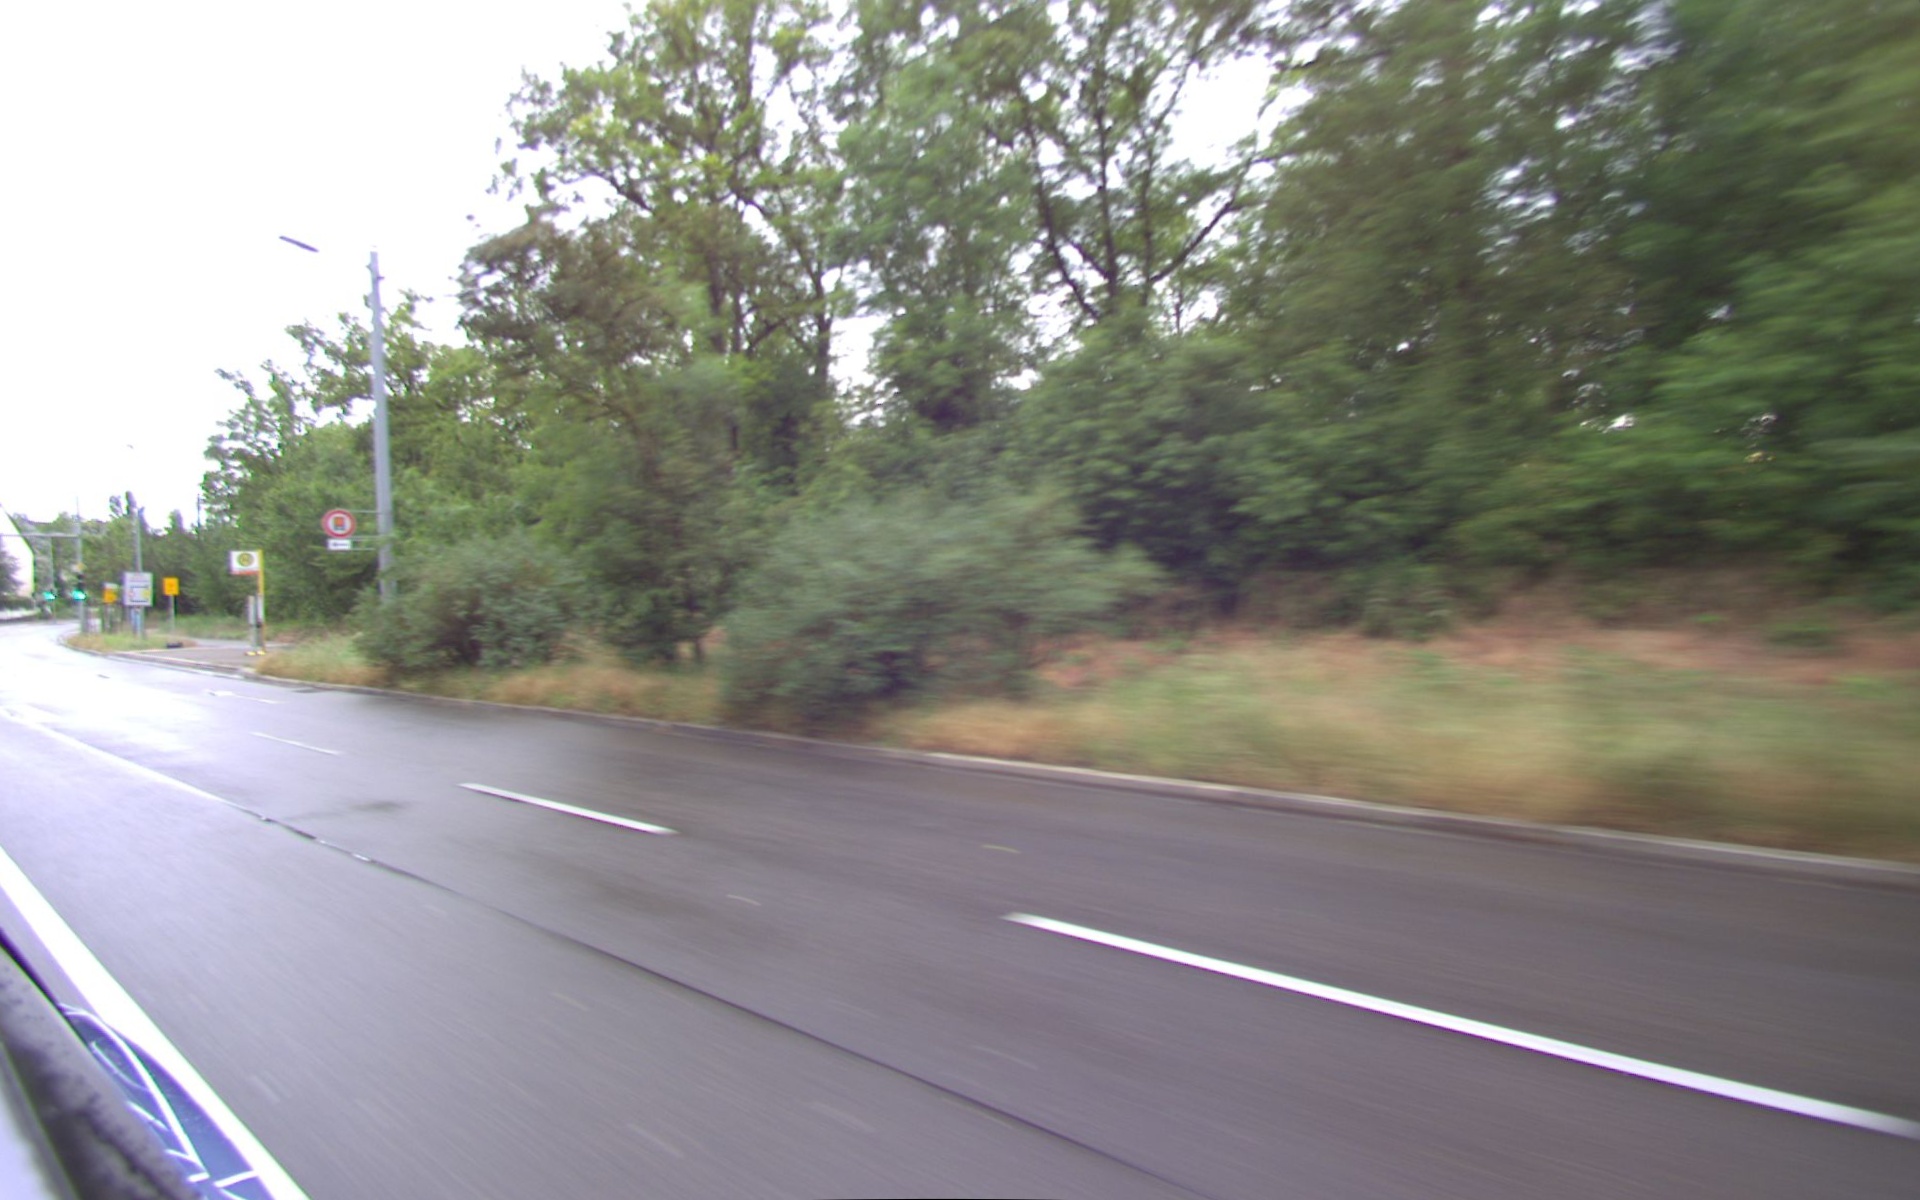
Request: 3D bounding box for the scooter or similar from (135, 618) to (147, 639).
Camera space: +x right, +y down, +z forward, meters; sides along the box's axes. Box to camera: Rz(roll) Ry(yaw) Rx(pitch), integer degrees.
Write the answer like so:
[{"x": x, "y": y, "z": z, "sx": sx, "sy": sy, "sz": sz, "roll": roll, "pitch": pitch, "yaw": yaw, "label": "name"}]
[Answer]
[{"x": -49.645, "y": 1.706, "z": 61.321, "sx": 0.511, "sy": 1.221, "sz": 1.472, "roll": -2, "pitch": 1, "yaw": -38, "label": "scooter or similar"}]
